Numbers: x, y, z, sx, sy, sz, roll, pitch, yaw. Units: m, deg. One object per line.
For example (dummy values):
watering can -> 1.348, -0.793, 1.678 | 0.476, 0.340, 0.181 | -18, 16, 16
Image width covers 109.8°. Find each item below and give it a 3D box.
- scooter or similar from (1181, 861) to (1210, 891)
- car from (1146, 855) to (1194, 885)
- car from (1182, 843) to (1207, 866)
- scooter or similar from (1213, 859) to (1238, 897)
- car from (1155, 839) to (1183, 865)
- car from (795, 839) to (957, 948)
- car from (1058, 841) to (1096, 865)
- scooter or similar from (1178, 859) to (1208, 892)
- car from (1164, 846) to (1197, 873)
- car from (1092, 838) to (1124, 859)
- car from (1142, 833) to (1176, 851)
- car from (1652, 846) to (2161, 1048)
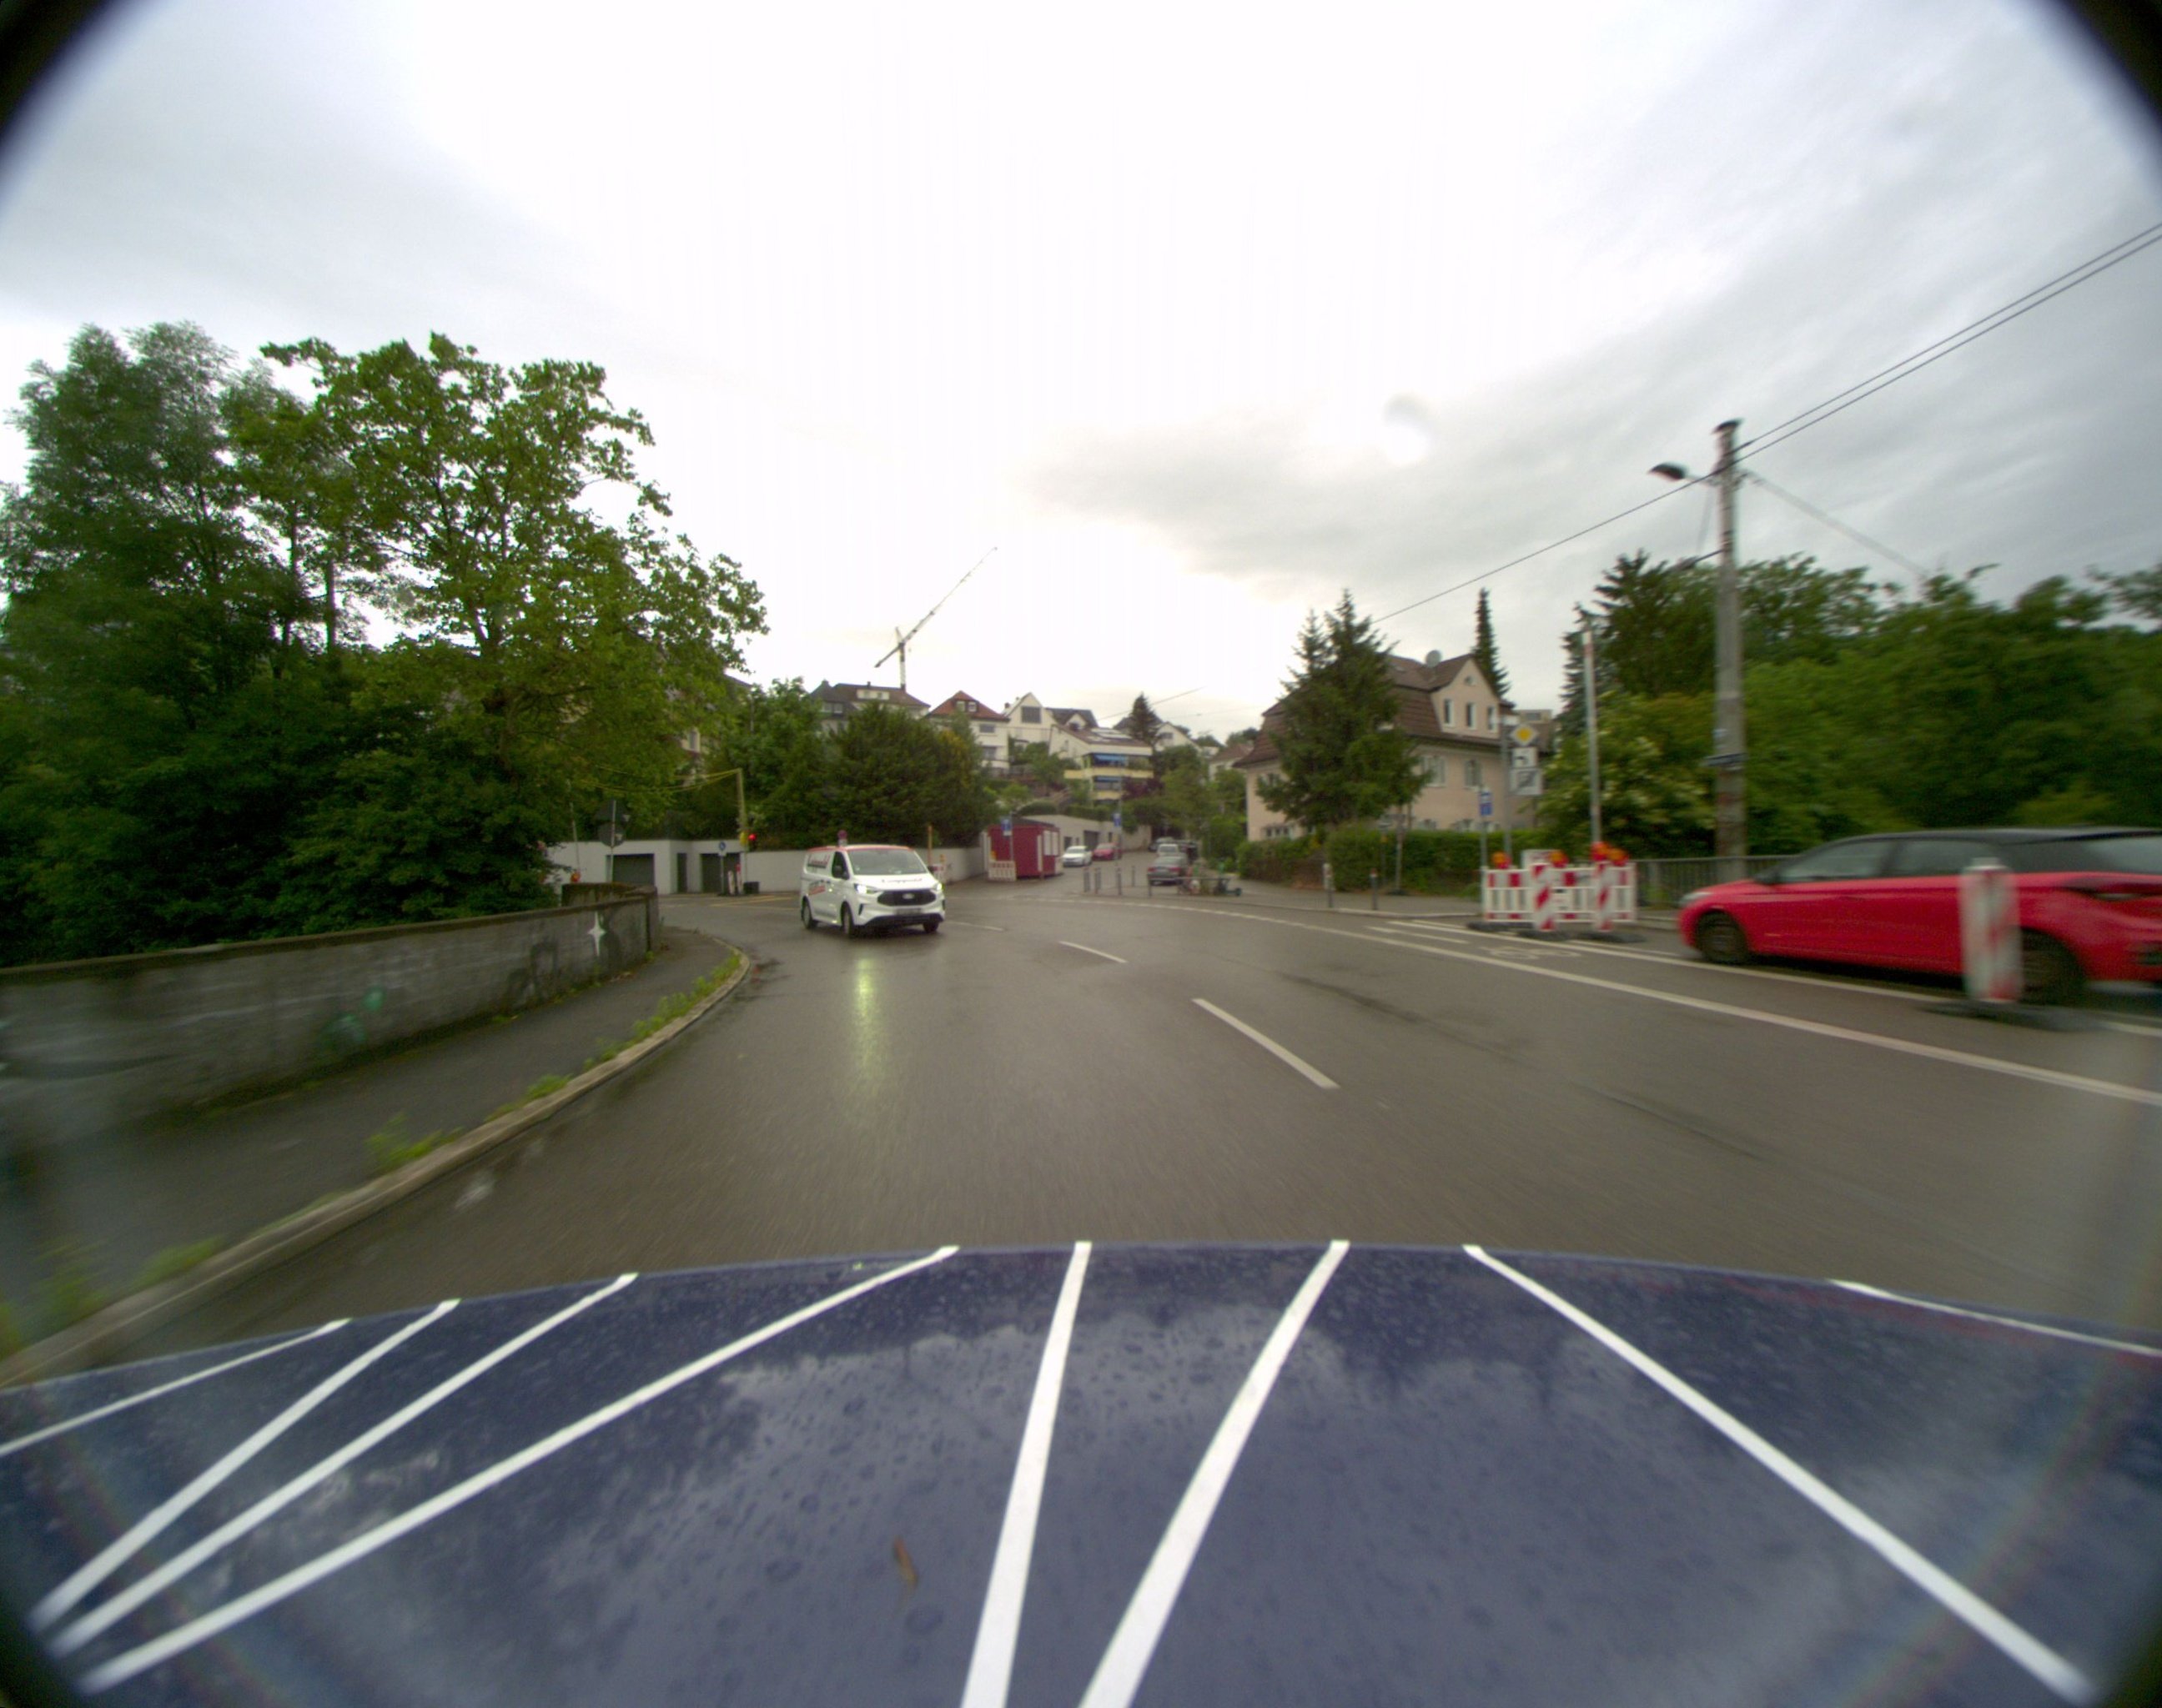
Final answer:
scooter or similar -> 4.288, 0.825, 28.433 | 1.037, 1.063, 0.243 | -1, 1, -15
car -> 4.430, 0.761, 37.176 | 1.672, 1.259, 4.208 | -1, 1, 16
car -> 9.362, -0.022, 62.920 | 1.997, 1.697, 4.000 | 0, 3, 8
scooter or similar -> 4.779, 0.782, 25.069 | 1.039, 1.211, 0.243 | -2, 2, -45
car -> 6.383, -0.172, 54.757 | 1.872, 1.653, 4.001 | 0, 3, 9
car -> -4.804, 0.711, 17.247 | 2.003, 2.003, 4.935 | -3, 3, -34
car -> -0.256, -0.136, 57.820 | 1.996, 1.653, 4.002 | 0, 2, 13
scooter or similar -> 4.077, 0.791, 27.659 | 1.038, 1.157, 0.243 | -2, 1, -17
car -> 5.541, 0.286, 42.679 | 1.673, 1.394, 4.205 | -1, 1, 6
car -> 2.384, -0.447, 65.521 | 1.871, 1.652, 4.006 | 0, -1, 16
car -> 7.975, -1.250, 77.323 | 1.878, 1.485, 4.006 | -5, 1, 30
car -> 8.175, 0.632, 7.493 | 1.690, 1.390, 4.133 | -1, 1, -6
